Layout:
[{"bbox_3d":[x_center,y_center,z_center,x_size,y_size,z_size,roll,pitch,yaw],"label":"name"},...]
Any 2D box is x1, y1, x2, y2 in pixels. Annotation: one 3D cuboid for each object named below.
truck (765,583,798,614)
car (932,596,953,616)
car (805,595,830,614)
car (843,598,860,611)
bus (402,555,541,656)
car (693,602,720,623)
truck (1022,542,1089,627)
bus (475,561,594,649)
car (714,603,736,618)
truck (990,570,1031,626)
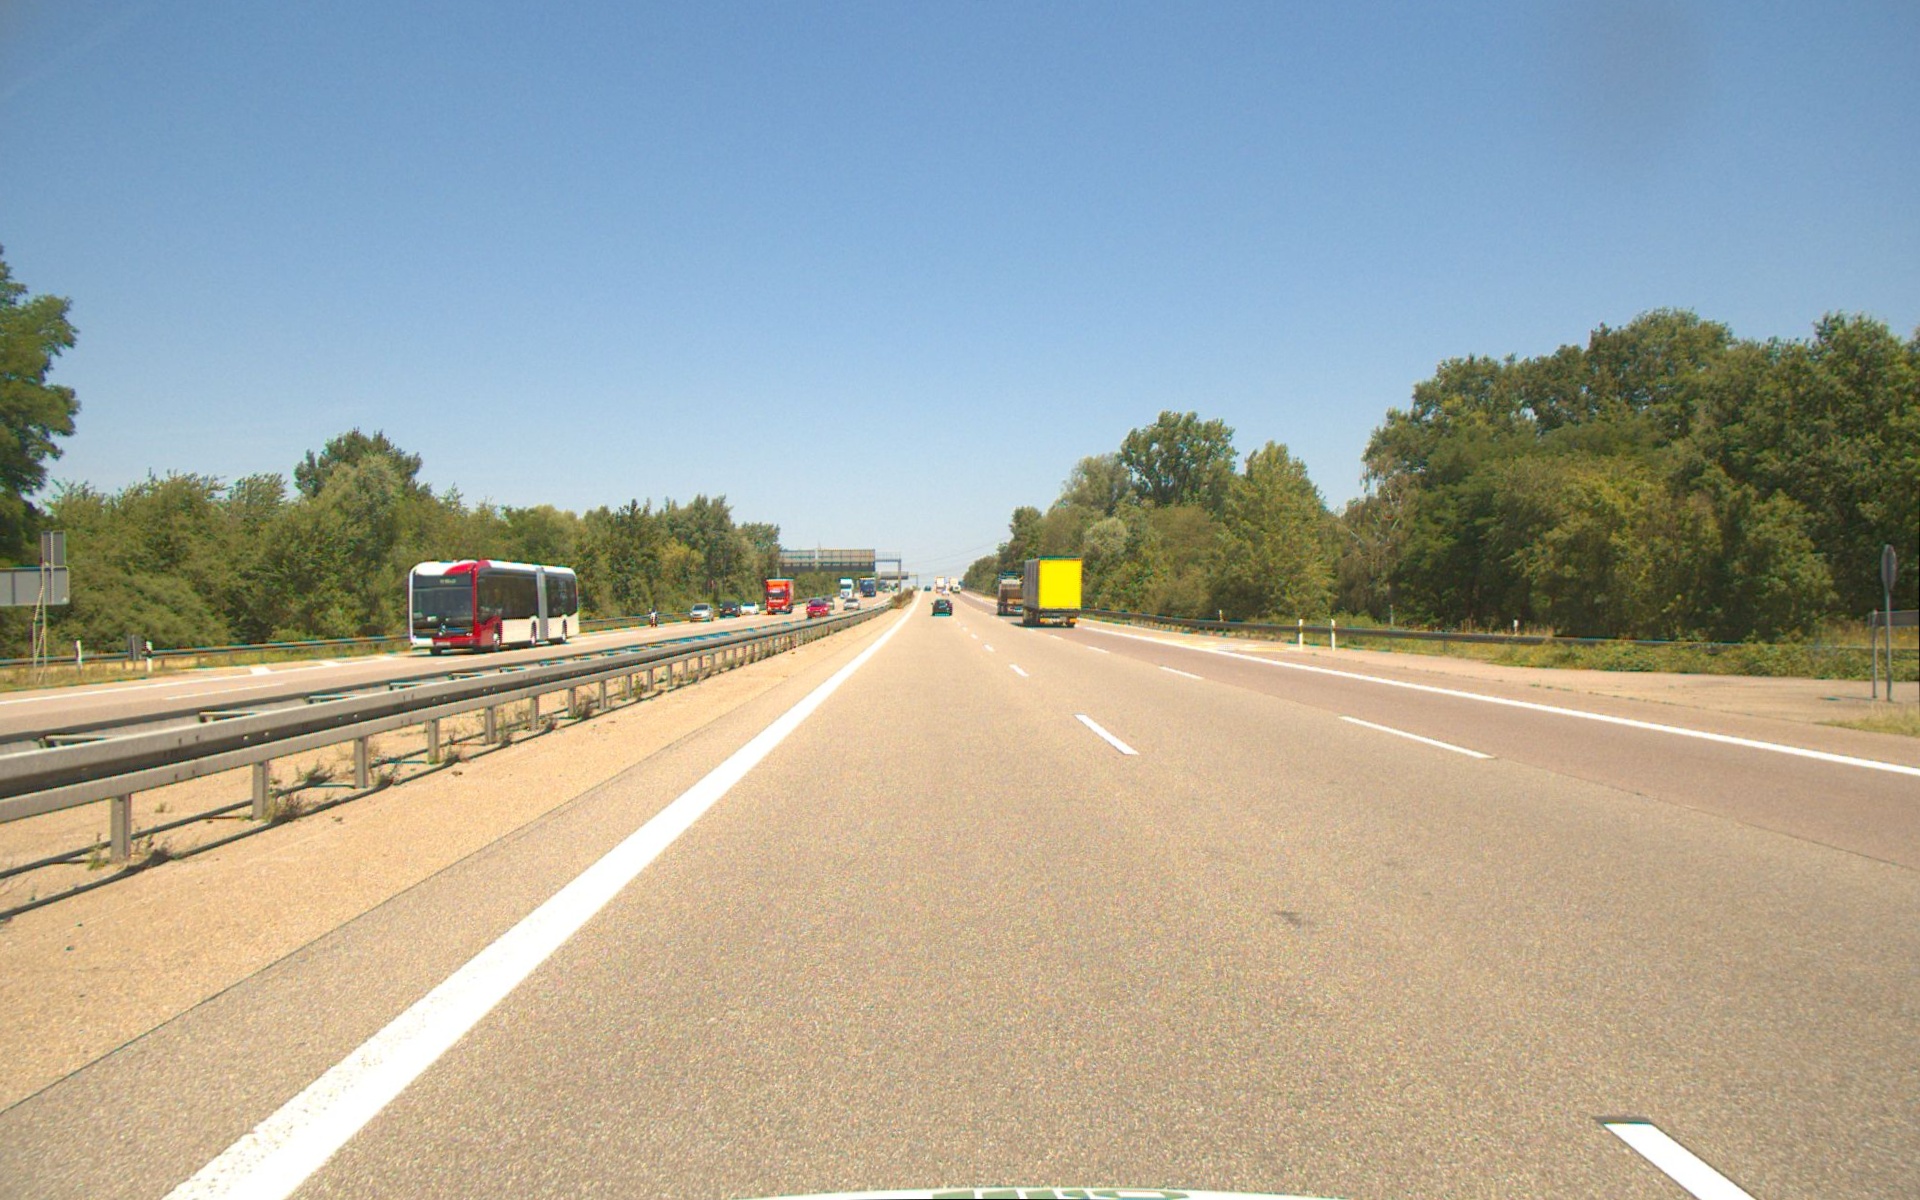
[{"bbox_3d":[-20.081,-0.140,186.354,2.545,3.268,12.122,1,0,-1],"label":"truck"},{"bbox_3d":[-1.596,0.572,147.989,1.790,1.736,3.999,1,0,-2],"label":"car"},{"bbox_3d":[-12.038,0.366,139.760,1.772,1.530,3.999,-1,0,-1],"label":"car"},{"bbox_3d":[-12.980,0.513,197.505,1.772,1.530,3.999,-1,0,-1],"label":"car"},{"bbox_3d":[-18.378,0.190,62.870,2.707,3.507,8.930,-1,0,-1],"label":"bus"},{"bbox_3d":[-22.508,1.124,146.913,1.772,1.803,3.999,-1,0,-1],"label":"car"},{"bbox_3d":[5.942,-0.917,105.410,3.308,4.966,15.084,1,0,0],"label":"truck"},{"bbox_3d":[-18.442,0.209,72.425,2.707,3.507,10.143,-1,0,-1],"label":"bus"},{"bbox_3d":[-24.396,1.061,172.126,1.772,1.530,3.999,-1,0,-1],"label":"car"},{"bbox_3d":[4.636,-0.133,155.468,3.298,4.966,15.084,1,0,0],"label":"truck"}]
